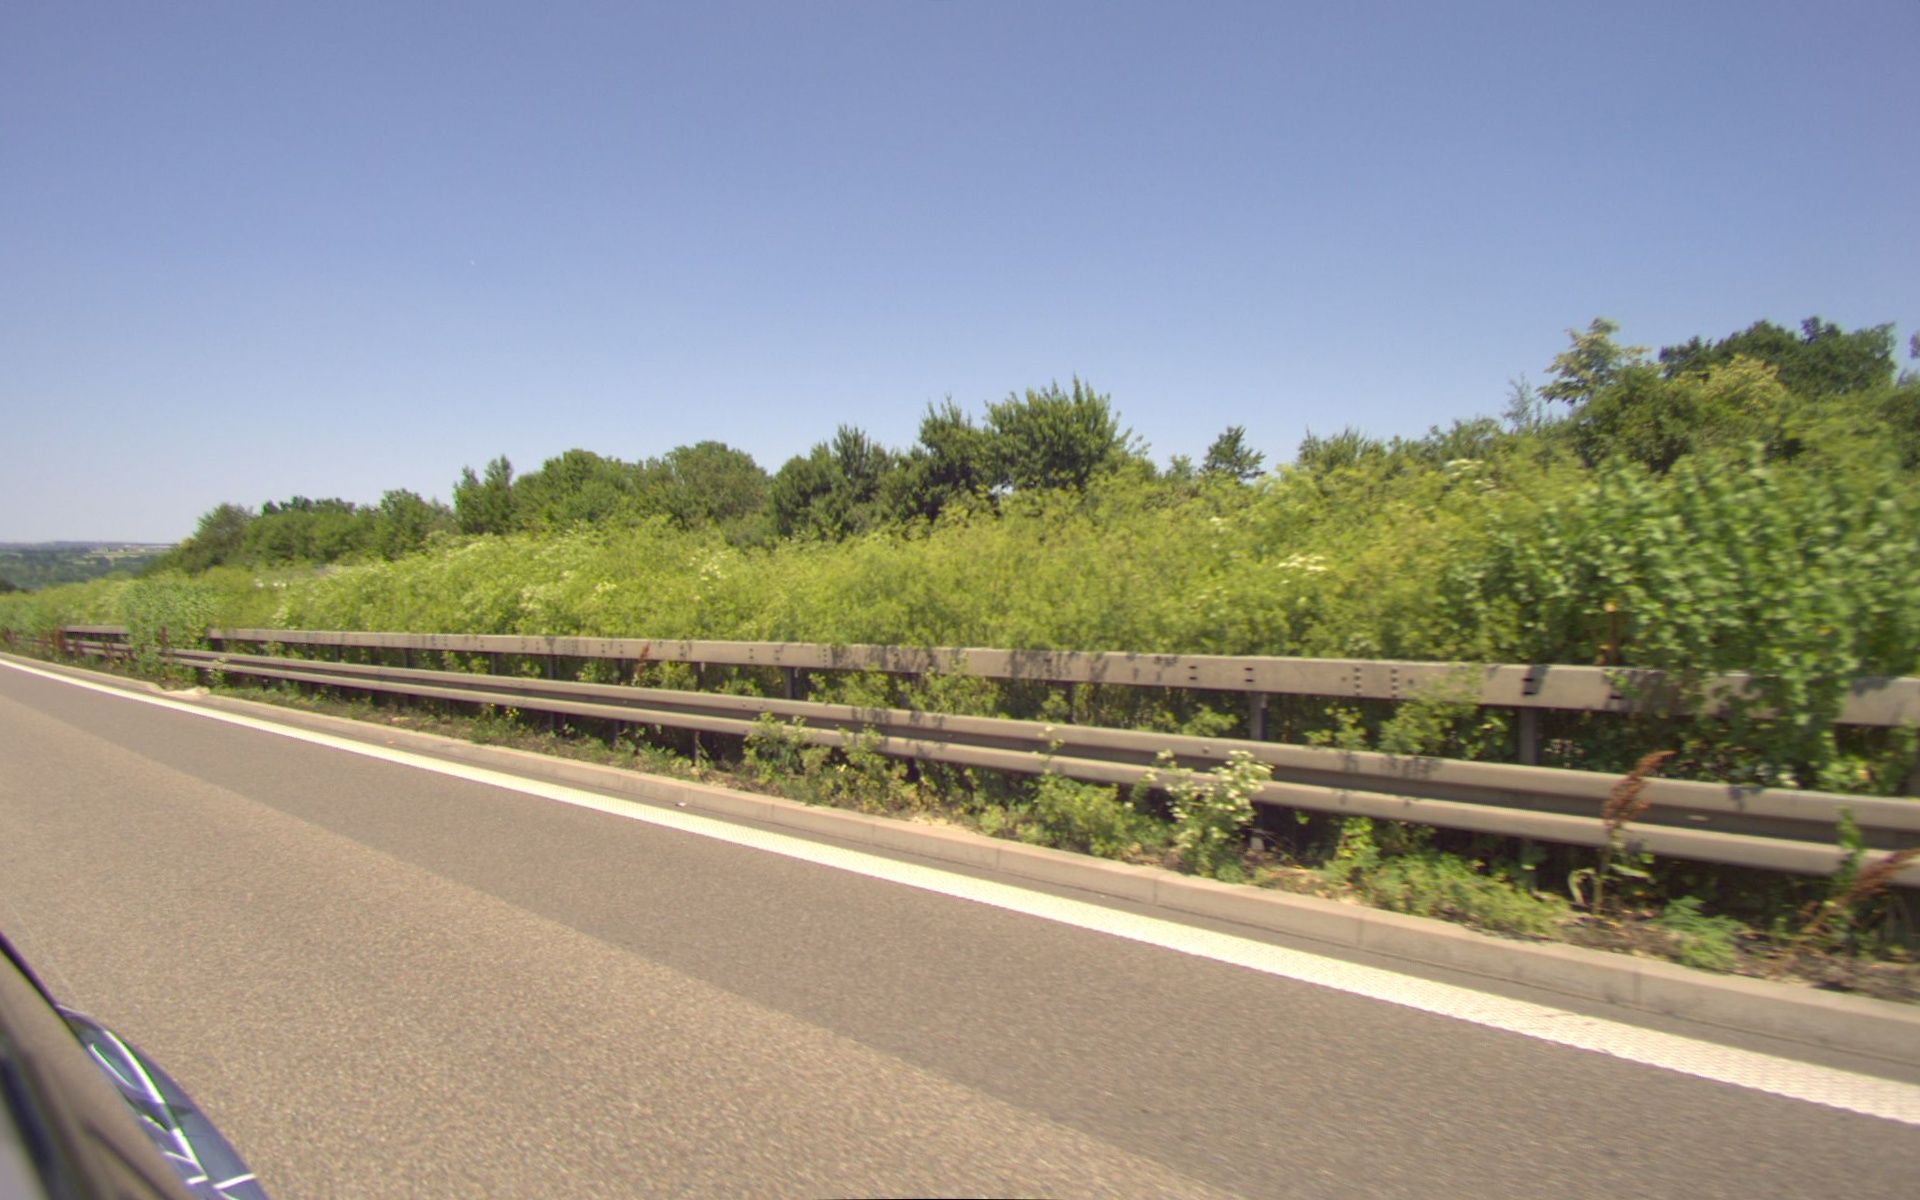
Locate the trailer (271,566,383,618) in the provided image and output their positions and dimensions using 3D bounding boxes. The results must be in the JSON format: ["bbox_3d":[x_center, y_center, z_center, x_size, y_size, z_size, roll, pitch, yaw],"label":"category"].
[{"bbox_3d":[-36.870,-0.370,58.711,11.405,2.730,2.539,-1,-1,42],"label":"trailer"}]

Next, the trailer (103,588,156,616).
[{"bbox_3d":[-86.879,0.274,105.765,12.312,2.822,2.645,-1,-1,42],"label":"trailer"}]

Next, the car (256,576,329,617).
[{"bbox_3d":[-41.608,-0.193,63.013,5.512,2.470,2.542,-1,-1,42],"label":"car"}]
